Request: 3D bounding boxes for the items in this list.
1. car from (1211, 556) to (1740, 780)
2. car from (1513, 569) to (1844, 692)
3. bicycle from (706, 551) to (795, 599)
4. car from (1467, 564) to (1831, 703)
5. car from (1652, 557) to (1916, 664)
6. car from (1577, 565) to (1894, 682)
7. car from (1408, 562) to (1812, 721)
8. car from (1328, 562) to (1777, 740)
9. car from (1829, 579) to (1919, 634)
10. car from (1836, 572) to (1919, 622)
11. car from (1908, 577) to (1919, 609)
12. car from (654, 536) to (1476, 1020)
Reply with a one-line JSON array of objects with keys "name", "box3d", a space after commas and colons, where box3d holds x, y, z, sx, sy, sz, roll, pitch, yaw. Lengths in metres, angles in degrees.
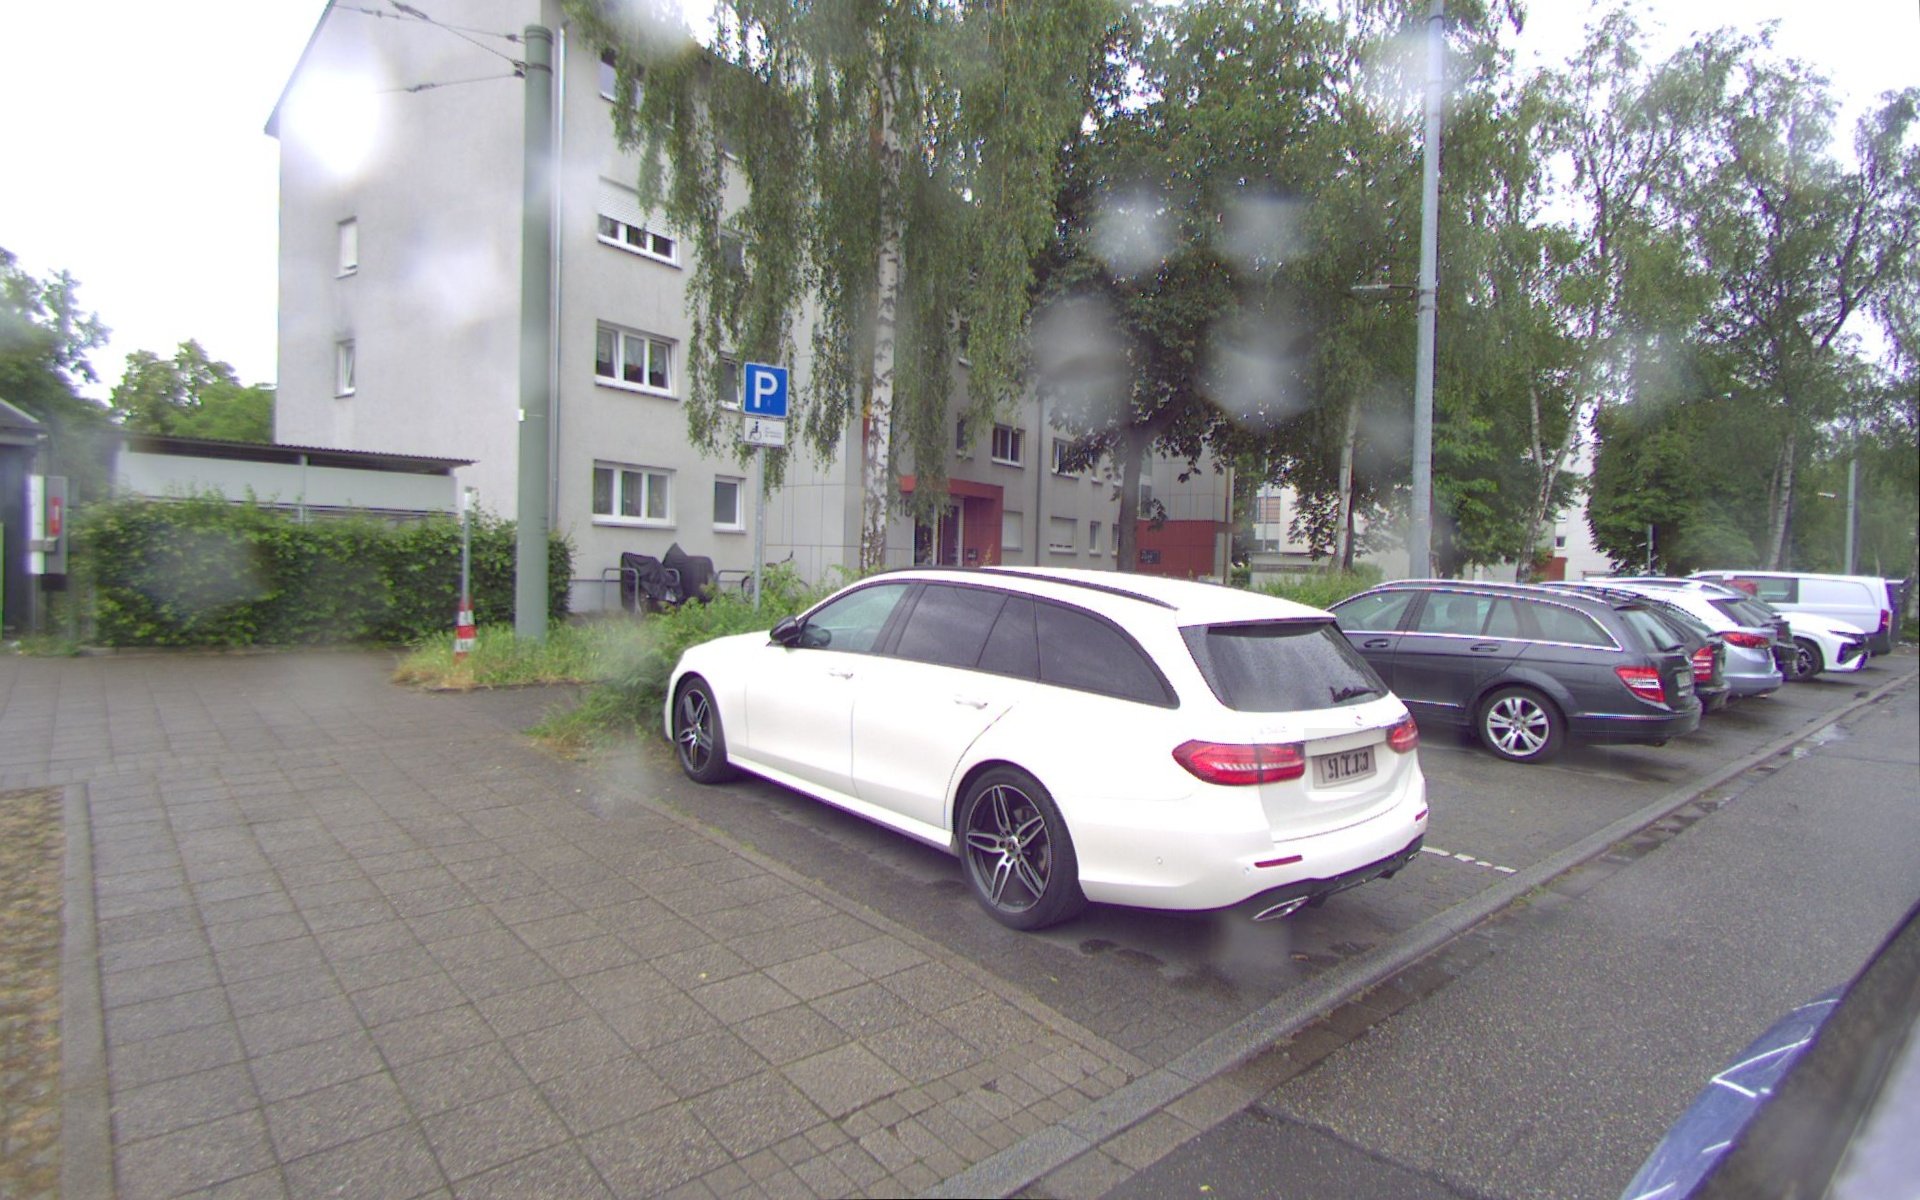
[{"name": "car", "box3d": [4.583, 0.426, 9.472, 1.653, 1.456, 4.044, -1, 5, -43]}, {"name": "car", "box3d": [11.414, 0.375, 16.297, 1.653, 1.514, 4.044, -1, 5, -43]}, {"name": "bicycle", "box3d": [-4.526, -0.533, 21.972, 0.701, 1.005, 1.918, 0, 0, 37]}, {"name": "car", "box3d": [9.825, 0.358, 14.675, 1.653, 1.514, 4.044, -1, 5, -43]}, {"name": "car", "box3d": [17.520, 0.128, 21.673, 4.172, 1.888, 1.654, 6, 5, 43]}, {"name": "car", "box3d": [13.726, 0.307, 18.148, 1.651, 1.637, 4.181, 0, 5, -40]}, {"name": "car", "box3d": [8.187, 0.387, 13.036, 1.653, 1.514, 4.044, -1, 5, -43]}, {"name": "car", "box3d": [6.525, 0.415, 11.490, 1.653, 1.456, 4.044, -1, 5, -43]}, {"name": "car", "box3d": [34.436, 0.218, 36.818, 1.866, 1.937, 3.998, -1, 1, -36]}, {"name": "car", "box3d": [37.732, -0.141, 40.285, 1.866, 1.937, 3.998, -1, 1, -36]}, {"name": "car", "box3d": [53.242, -0.392, 53.722, 1.866, 1.701, 3.998, -1, 1, -36]}, {"name": "car", "box3d": [0.084, 0.474, 5.614, 1.651, 1.456, 4.622, -1, 5, -41]}]
